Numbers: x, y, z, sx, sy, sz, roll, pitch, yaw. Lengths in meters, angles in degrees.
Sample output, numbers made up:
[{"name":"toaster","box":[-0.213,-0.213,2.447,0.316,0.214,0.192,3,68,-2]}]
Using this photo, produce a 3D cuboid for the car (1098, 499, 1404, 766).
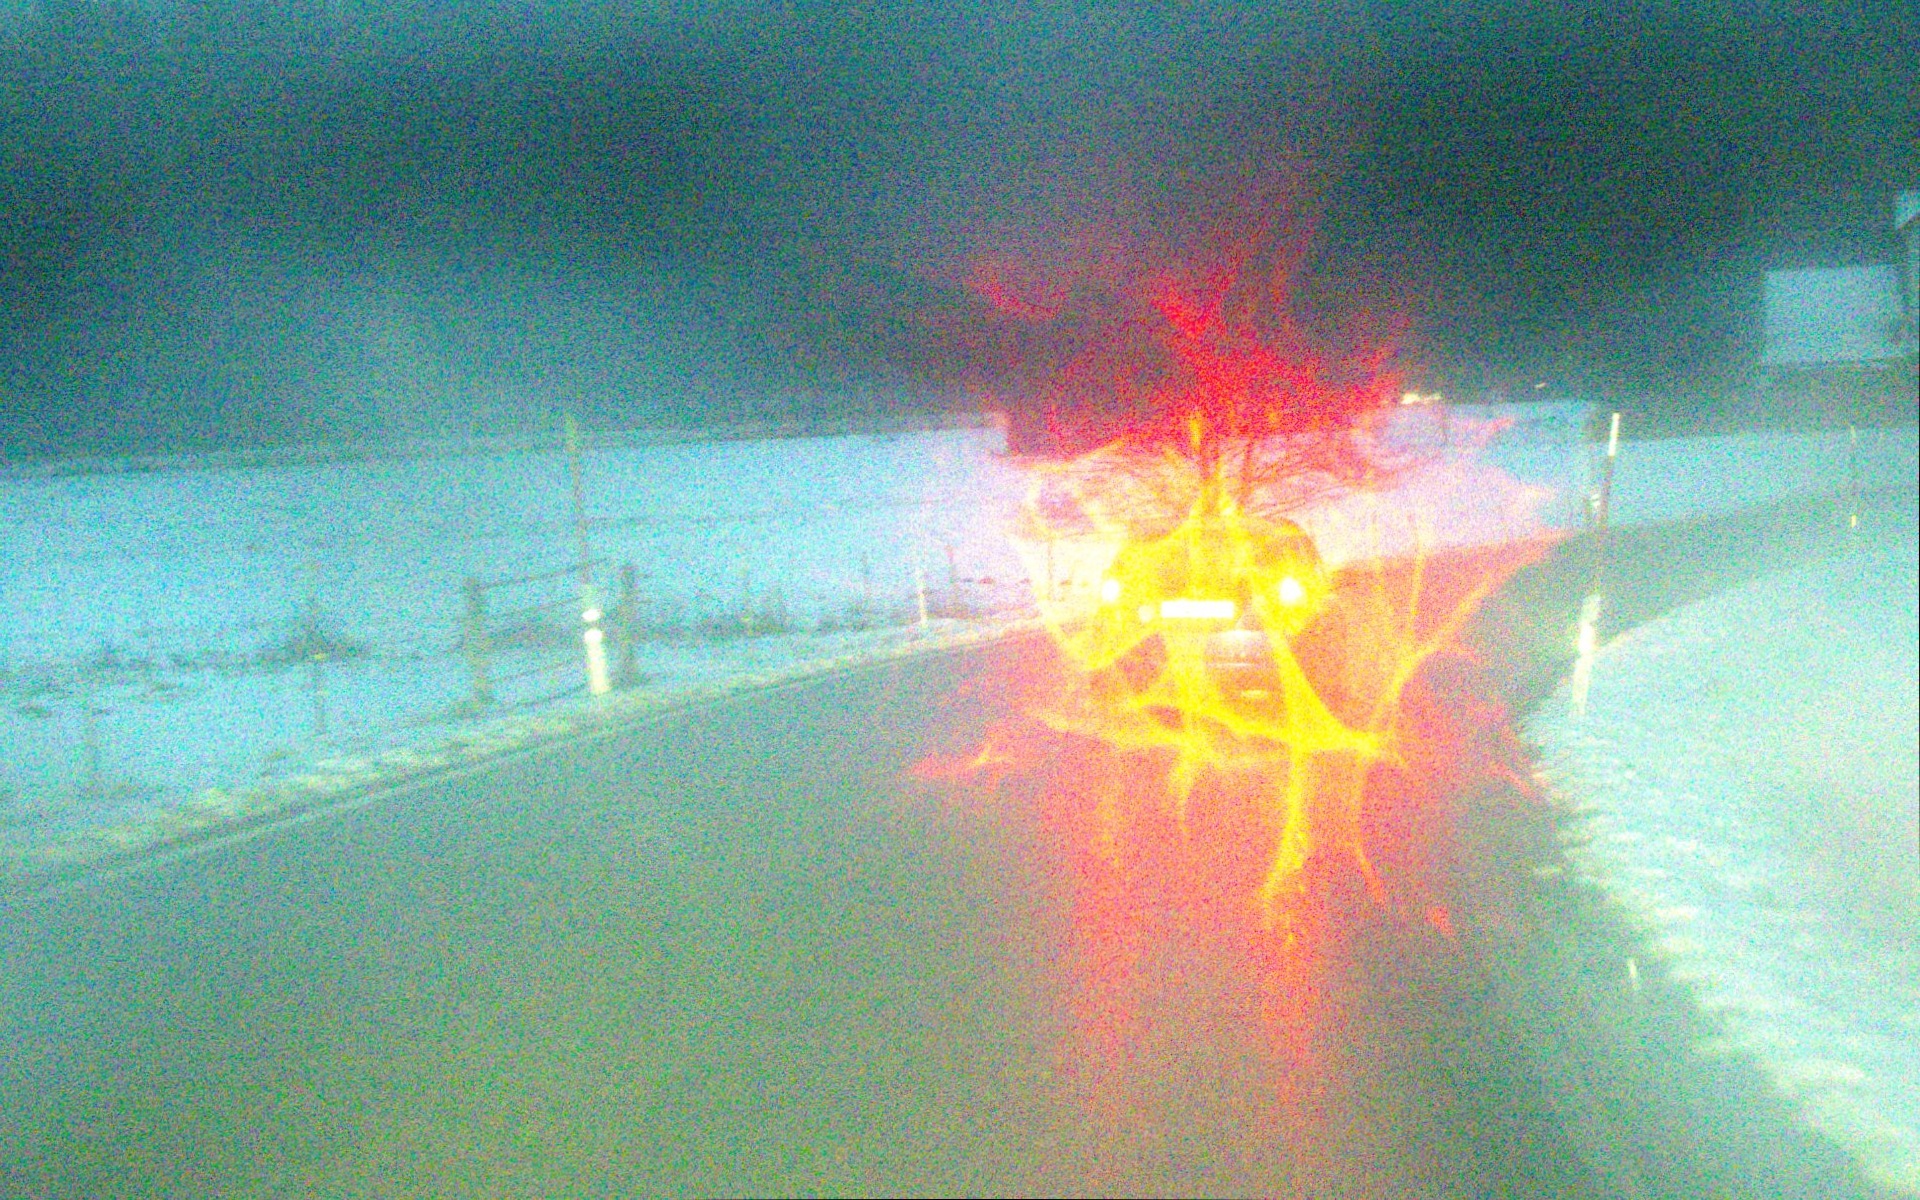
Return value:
[{"name":"car","box":[2.247,0.184,25.720,1.823,1.790,3.576,-2,1,11]}]
